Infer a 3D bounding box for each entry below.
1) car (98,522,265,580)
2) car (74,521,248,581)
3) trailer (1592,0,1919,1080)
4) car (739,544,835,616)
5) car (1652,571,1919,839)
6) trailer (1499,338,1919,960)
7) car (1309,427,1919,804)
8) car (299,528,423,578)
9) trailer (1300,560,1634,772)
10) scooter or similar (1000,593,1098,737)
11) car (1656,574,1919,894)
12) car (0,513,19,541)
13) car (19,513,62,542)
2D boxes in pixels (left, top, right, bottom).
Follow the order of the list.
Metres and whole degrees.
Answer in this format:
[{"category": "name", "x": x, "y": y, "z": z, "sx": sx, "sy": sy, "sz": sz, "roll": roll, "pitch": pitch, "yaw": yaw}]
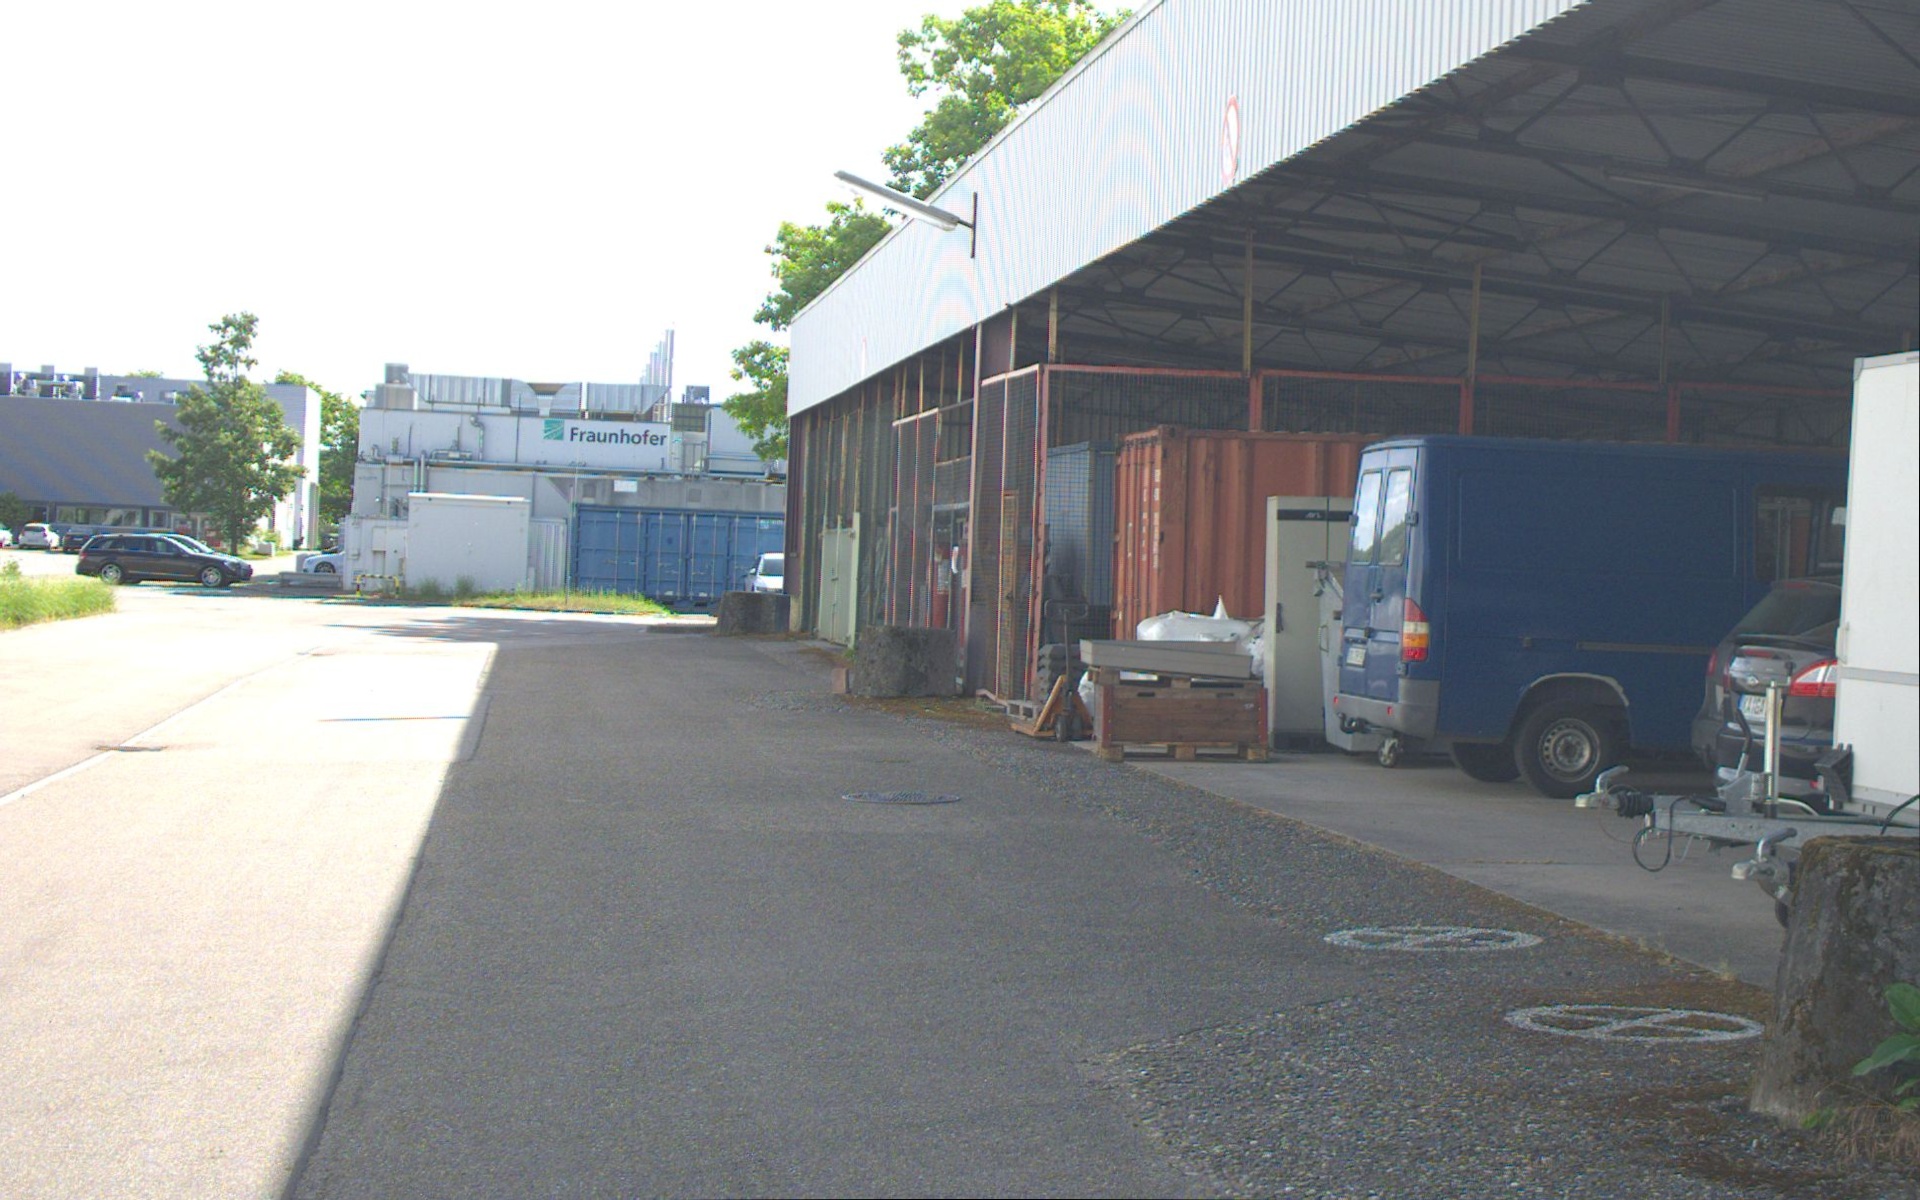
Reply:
[{"category": "car", "x": -22.717, "y": -1.421, "z": 100.395, "sx": 4.528, "sy": 1.438, "sz": 1.904, "roll": 2, "pitch": -1, "yaw": -7}, {"category": "car", "x": -22.539, "y": -1.374, "z": 97.133, "sx": 4.528, "sy": 1.438, "sz": 1.988, "roll": 2, "pitch": -1, "yaw": -7}, {"category": "trailer", "x": 7.596, "y": -0.216, "z": 11.763, "sx": 10.291, "sy": 3.284, "sz": 2.676, "roll": 1, "pitch": 1, "yaw": -6}, {"category": "car", "x": -4.388, "y": -0.518, "z": 86.680, "sx": 1.980, "sy": 1.588, "sz": 4.342, "roll": 3, "pitch": 2, "yaw": -8}, {"category": "car", "x": 6.297, "y": 0.588, "z": 19.858, "sx": 4.106, "sy": 1.449, "sz": 1.851, "roll": 1, "pitch": 0, "yaw": -7}, {"category": "trailer", "x": 4.651, "y": 0.197, "z": 13.952, "sx": 4.541, "sy": 2.327, "sz": 1.689, "roll": 1, "pitch": 1, "yaw": -6}, {"category": "car", "x": 5.156, "y": 0.127, "z": 22.936, "sx": 5.215, "sy": 2.289, "sz": 2.084, "roll": 2, "pitch": 0, "yaw": -8}, {"category": "car", "x": -21.789, "y": -1.705, "z": 125.187, "sx": 4.278, "sy": 1.564, "sz": 1.988, "roll": 2, "pitch": -1, "yaw": -7}, {"category": "trailer", "x": 3.706, "y": 0.474, "z": 25.388, "sx": 2.094, "sy": 1.457, "sz": 1.642, "roll": 2, "pitch": 0, "yaw": -4}, {"category": "scooter or similar", "x": 0.720, "y": 0.516, "z": 28.225, "sx": 0.520, "sy": 1.131, "sz": 1.593, "roll": 2, "pitch": 0, "yaw": -8}, {"category": "car", "x": 5.804, "y": 0.623, "z": 16.717, "sx": 4.342, "sy": 1.428, "sz": 1.865, "roll": 1, "pitch": 0, "yaw": -10}, {"category": "car", "x": -53.450, "y": -4.047, "z": 190.863, "sx": 1.877, "sy": 1.532, "sz": 4.037, "roll": 1, "pitch": 1, "yaw": -10}, {"category": "car", "x": -51.168, "y": -4.019, "z": 191.367, "sx": 1.877, "sy": 1.532, "sz": 4.037, "roll": 1, "pitch": 1, "yaw": -10}]
